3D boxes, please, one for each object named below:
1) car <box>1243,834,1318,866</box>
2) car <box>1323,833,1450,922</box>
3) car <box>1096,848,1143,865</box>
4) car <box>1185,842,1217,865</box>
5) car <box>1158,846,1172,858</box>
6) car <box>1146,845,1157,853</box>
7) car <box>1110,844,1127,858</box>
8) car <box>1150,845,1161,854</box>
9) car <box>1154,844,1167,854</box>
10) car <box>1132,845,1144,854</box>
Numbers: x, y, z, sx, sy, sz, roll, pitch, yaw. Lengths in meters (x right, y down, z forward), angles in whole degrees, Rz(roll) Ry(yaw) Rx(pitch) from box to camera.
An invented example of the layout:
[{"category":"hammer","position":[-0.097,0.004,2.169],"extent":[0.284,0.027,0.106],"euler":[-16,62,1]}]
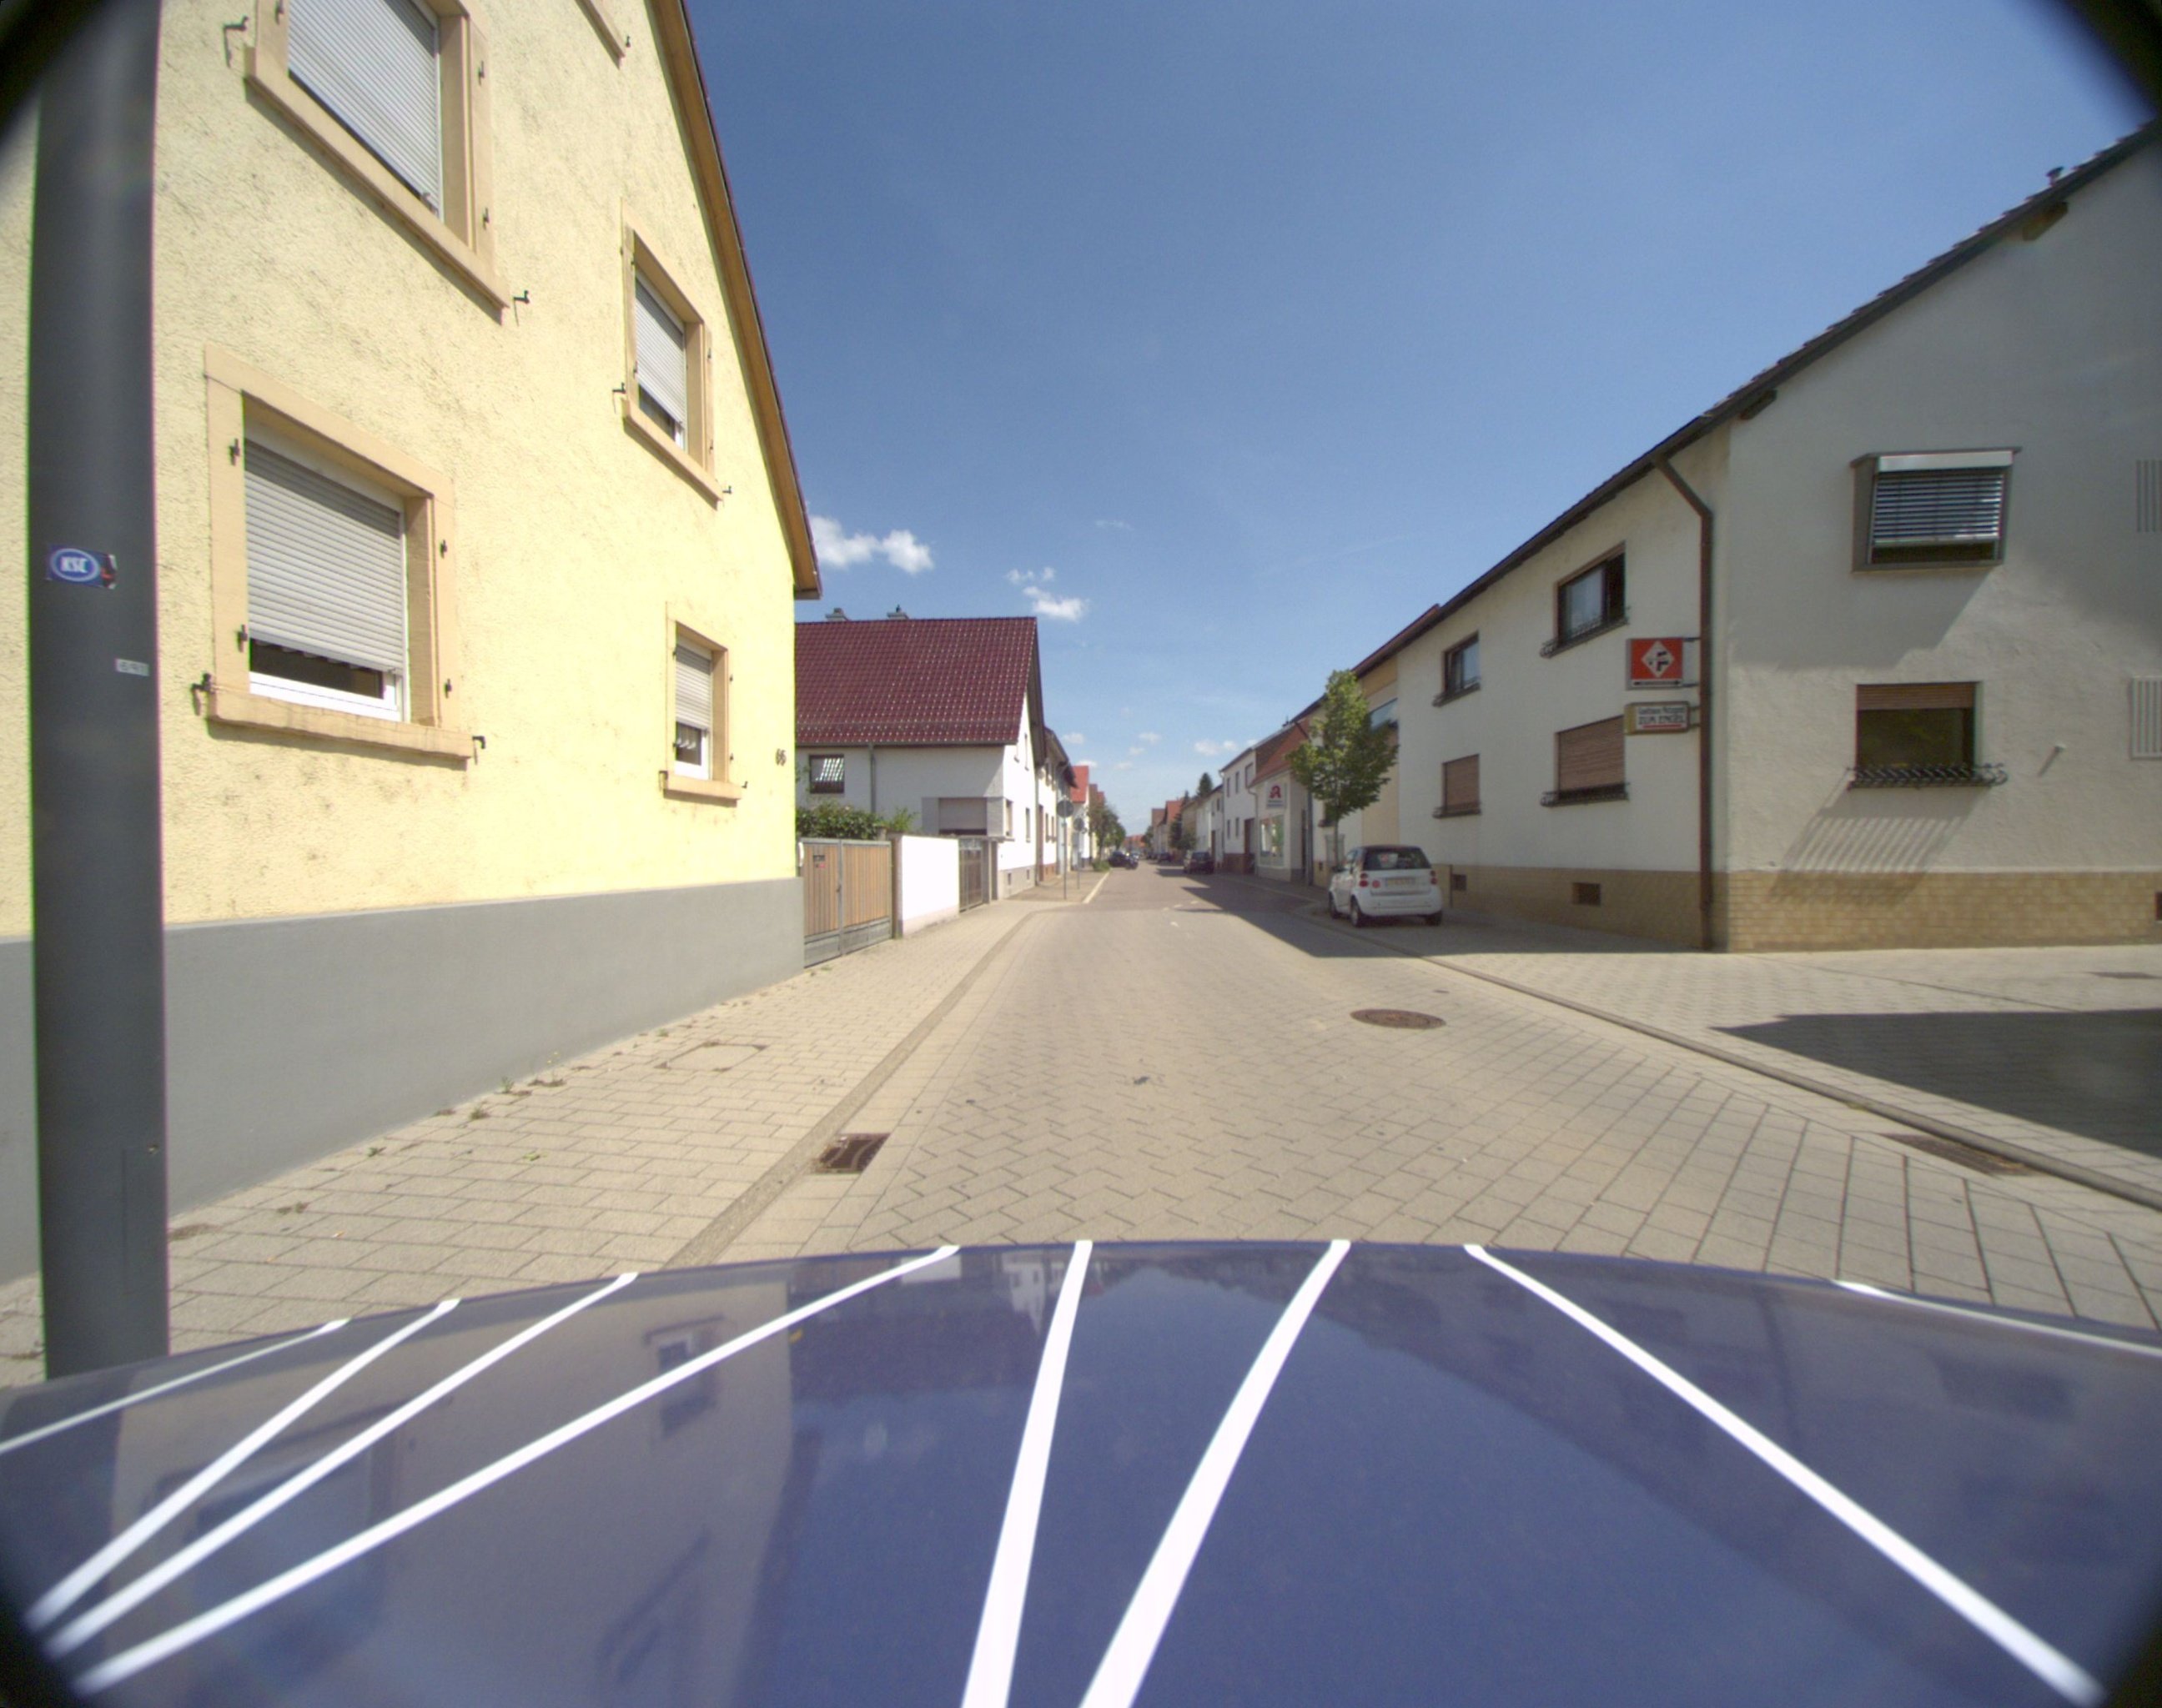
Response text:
[{"category":"car","position":[11.920,-0.243,45.570],"extent":[3.995,1.708,1.814],"euler":[-3,1,5]},{"category":"car","position":[6.021,0.410,15.279],"extent":[1.576,1.552,2.822],"euler":[-3,1,5]},{"category":"car","position":[3.450,0.199,67.543],"extent":[3.807,1.420,1.731],"euler":[0,1,32]},{"category":"car","position":[8.371,-0.034,53.414],"extent":[1.752,1.557,3.955],"euler":[0,1,2]},{"category":"car","position":[12.096,-0.311,109.142],"extent":[1.851,1.689,4.001],"euler":[0,1,4]},{"category":"car","position":[14.289,-1.054,154.384],"extent":[1.998,1.571,4.000],"euler":[0,1,3]},{"category":"car","position":[4.632,-0.424,94.022],"extent":[1.998,1.696,4.001],"euler":[0,1,5]},{"category":"car","position":[14.511,-0.866,148.236],"extent":[1.998,1.571,4.000],"euler":[0,1,1]},{"category":"car","position":[13.678,-0.867,130.771],"extent":[1.854,1.543,4.000],"euler":[0,1,1]},{"category":"car","position":[9.754,-0.791,129.602],"extent":[1.957,1.521,4.001],"euler":[0,1,4]}]
